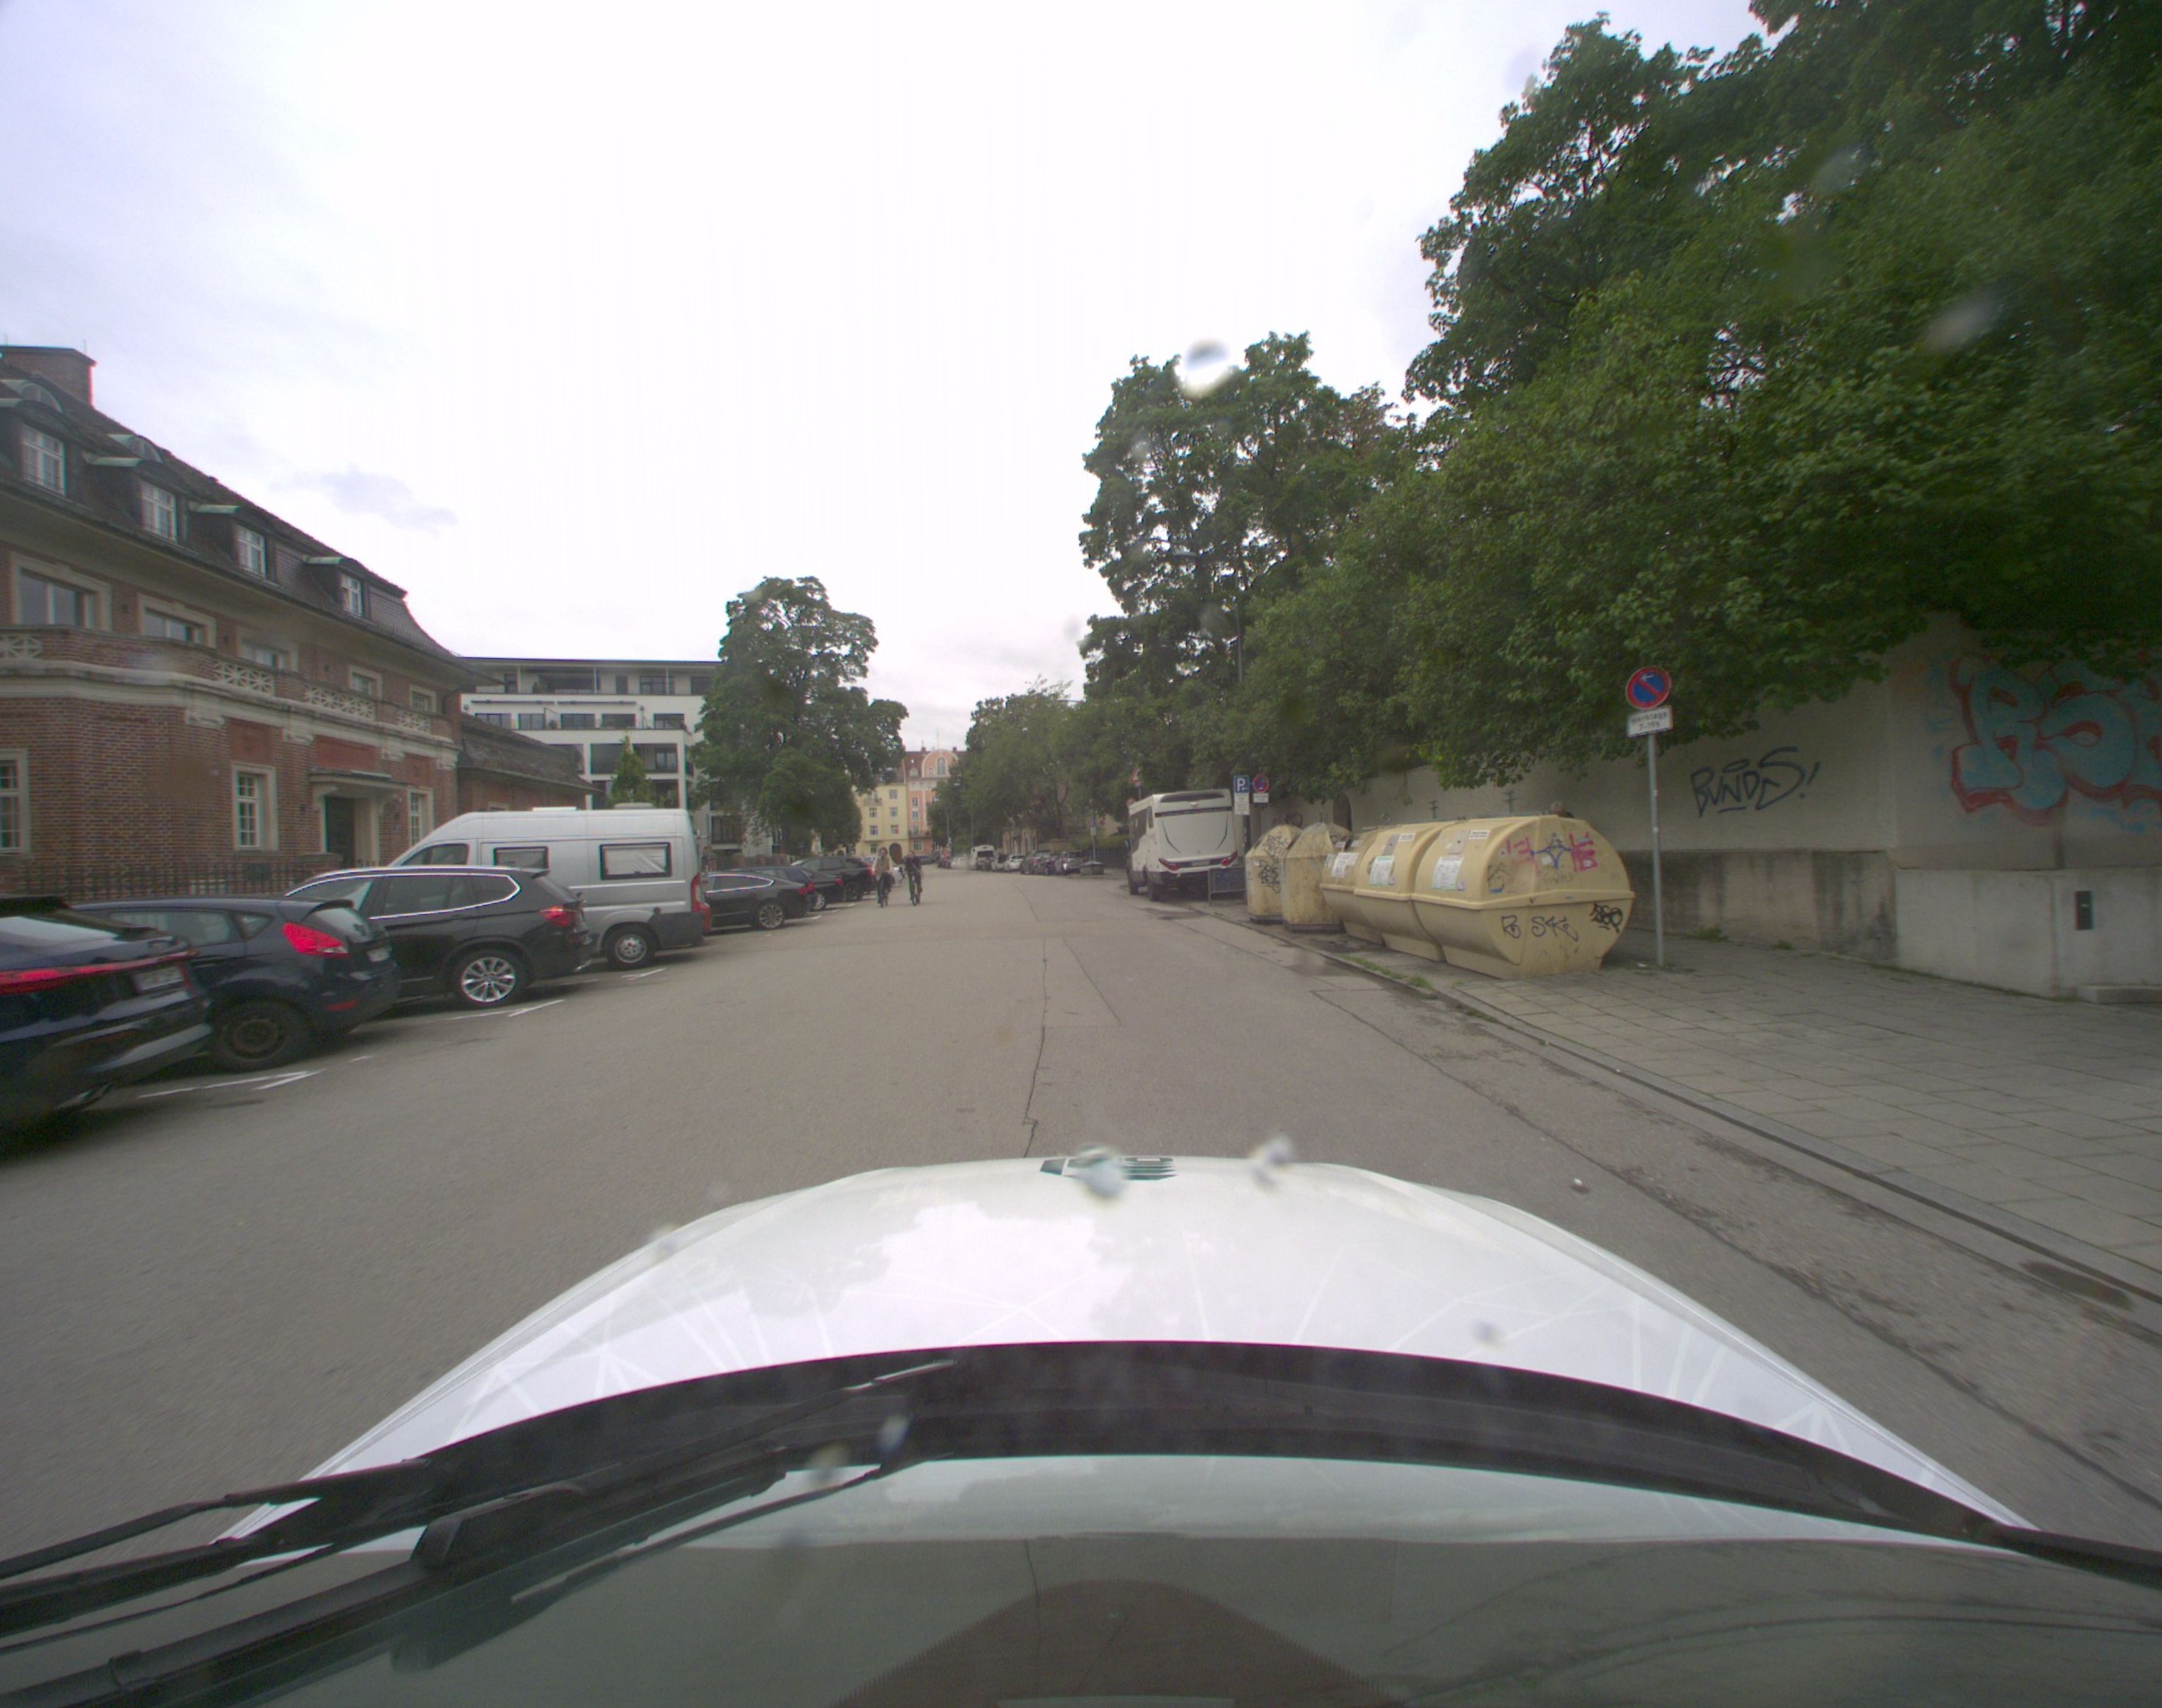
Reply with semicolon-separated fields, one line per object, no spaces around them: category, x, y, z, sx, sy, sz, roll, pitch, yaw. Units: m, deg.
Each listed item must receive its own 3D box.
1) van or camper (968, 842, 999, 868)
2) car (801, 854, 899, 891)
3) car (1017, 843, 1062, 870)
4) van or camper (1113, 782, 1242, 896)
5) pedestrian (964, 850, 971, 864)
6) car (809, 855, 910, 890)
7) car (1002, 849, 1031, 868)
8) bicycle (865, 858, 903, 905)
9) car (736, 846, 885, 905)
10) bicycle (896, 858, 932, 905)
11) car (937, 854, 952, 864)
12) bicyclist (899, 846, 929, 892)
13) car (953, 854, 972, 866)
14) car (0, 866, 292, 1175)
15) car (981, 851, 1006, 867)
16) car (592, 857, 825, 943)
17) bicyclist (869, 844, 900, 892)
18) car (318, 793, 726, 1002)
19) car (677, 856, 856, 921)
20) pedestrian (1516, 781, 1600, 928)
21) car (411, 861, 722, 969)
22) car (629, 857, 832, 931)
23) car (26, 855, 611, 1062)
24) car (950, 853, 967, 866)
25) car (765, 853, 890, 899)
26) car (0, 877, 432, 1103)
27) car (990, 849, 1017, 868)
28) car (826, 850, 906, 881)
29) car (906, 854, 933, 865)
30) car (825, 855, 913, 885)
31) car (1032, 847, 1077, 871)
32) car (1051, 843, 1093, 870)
van or camper;-10.336;0.138;85.755;2.197;2.550;5.697;-4;1;-16
car;-12.268;0.964;43.411;4.541;1.509;1.909;-6;1;-39
car;-3.106;0.185;59.481;1.999;1.711;4.855;-4;1;-18
van or camper;2.685;-0.418;25.026;2.270;2.906;7.261;-3;1;-6
pedestrian;-15.851;0.423;113.361;0.775;2.013;0.559;-2;0;-19
car;-11.178;0.900;41.307;4.540;1.451;1.875;-4;1;-39
car;-5.481;0.387;68.723;1.688;1.441;3.980;-4;0;-14
bicycle;-5.915;0.794;24.589;0.706;1.305;2.115;-3;1;-4
car;-9.468;0.718;28.651;4.547;1.664;1.966;-4;0;-35
bicycle;-5.036;0.811;24.621;0.705;1.305;2.116;-3;1;-3
car;-20.506;0.769;122.114;1.675;1.344;3.815;-4;2;-18
bicyclist;-5.066;0.450;24.720;0.695;1.352;0.929;-3;0;-3
car;-15.051;0.753;103.396;1.711;1.408;4.107;-4;1;-16
car;-7.702;1.041;4.355;4.540;1.593;1.947;-4;1;-29
car;-8.529;0.468;79.166;1.710;1.369;4.418;-4;1;-15
car;-8.450;0.968;18.588;4.544;1.451;1.957;-4;1;-33
bicyclist;-5.940;0.402;24.664;0.695;1.397;0.929;-3;0;-4
car;-8.154;0.481;12.518;4.650;2.563;2.213;-4;1;-29
car;-9.212;0.952;24.013;4.547;1.418;1.907;-5;1;-35
pedestrian;6.733;0.001;11.528;0.627;1.985;0.797;-2;0;-4
car;-9.228;1.010;15.029;4.542;1.517;1.918;-3;0;-31
car;-9.116;0.968;21.347;4.547;1.451;1.800;-5;1;-35
car;-8.197;1.005;9.498;4.540;1.625;1.948;-4;0;-29
car;-16.276;0.734;108.158;1.710;1.466;3.819;-4;1;-14
car;-10.509;0.878;33.923;4.549;1.567;1.868;-3;1;-37
car;-8.436;1.119;6.732;4.434;1.486;1.817;-4;0;-28
car;-7.002;0.383;73.608;1.710;1.537;4.219;-5;1;-14
car;-13.722;0.692;52.120;2.110;1.699;4.440;-3;0;42
car;-29.938;0.948;150.654;4.715;1.880;1.829;-2;0;-17
car;-12.102;0.902;46.702;1.941;1.439;4.439;-3;0;44
car;-1.829;0.319;55.040;1.882;1.427;4.197;-4;1;-18
car;-0.600;0.176;51.109;1.744;1.536;2.928;-4;0;-18
